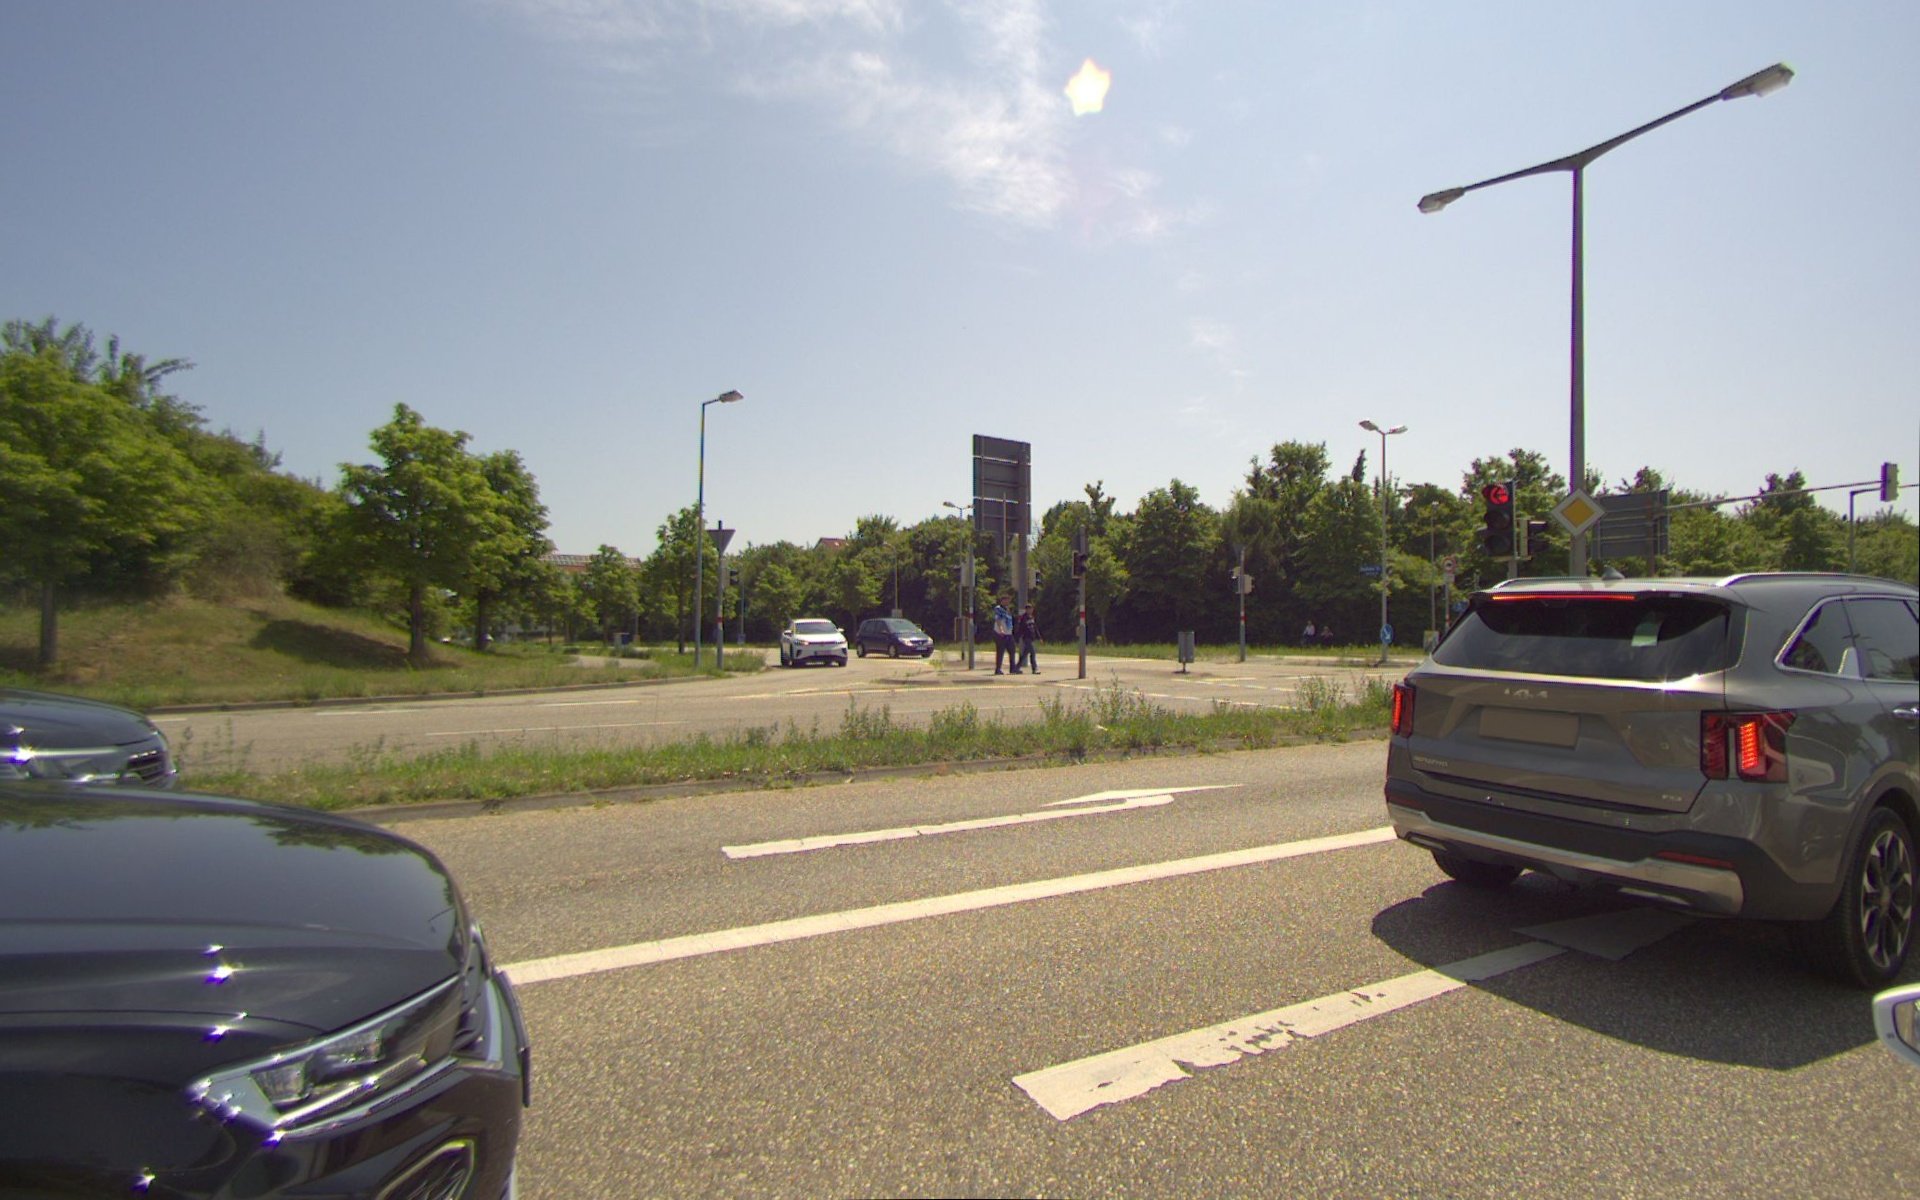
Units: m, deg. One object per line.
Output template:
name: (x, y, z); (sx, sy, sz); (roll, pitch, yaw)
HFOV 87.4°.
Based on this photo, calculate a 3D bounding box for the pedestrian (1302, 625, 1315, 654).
pedestrian: (19.450, 2.203, 56.115); (0.606, 1.624, 0.798); (-1, -1, 24)

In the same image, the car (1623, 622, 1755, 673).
car: (22.454, 1.428, 30.929); (4.120, 1.475, 1.814); (1, -1, -31)

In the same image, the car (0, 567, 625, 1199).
car: (-2.648, 0.683, 1.297); (3.924, 1.532, 1.726); (2, 0, -30)

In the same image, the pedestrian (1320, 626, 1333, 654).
pedestrian: (20.317, 2.215, 55.662); (0.606, 1.523, 0.798); (0, -1, 24)

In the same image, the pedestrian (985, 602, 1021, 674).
pedestrian: (1.070, 0.942, 24.875); (0.779, 1.759, 0.582); (0, -1, -11)

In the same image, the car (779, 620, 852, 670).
car: (-5.036, 1.489, 34.547); (1.849, 1.522, 4.294); (-2, -1, -17)

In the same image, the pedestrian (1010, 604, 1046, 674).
pedestrian: (1.710, 0.976, 25.393); (0.761, 1.722, 0.723); (0, -1, -11)

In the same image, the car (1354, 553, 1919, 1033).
car: (4.420, 0.739, 5.484); (4.590, 1.684, 1.795); (1, -1, -30)

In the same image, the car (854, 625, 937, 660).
car: (-2.709, 1.714, 41.279); (1.685, 1.353, 3.964); (1, -2, -33)

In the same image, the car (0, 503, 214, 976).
car: (-5.582, 0.531, 3.791); (4.274, 1.850, 1.722); (1, -1, -32)
